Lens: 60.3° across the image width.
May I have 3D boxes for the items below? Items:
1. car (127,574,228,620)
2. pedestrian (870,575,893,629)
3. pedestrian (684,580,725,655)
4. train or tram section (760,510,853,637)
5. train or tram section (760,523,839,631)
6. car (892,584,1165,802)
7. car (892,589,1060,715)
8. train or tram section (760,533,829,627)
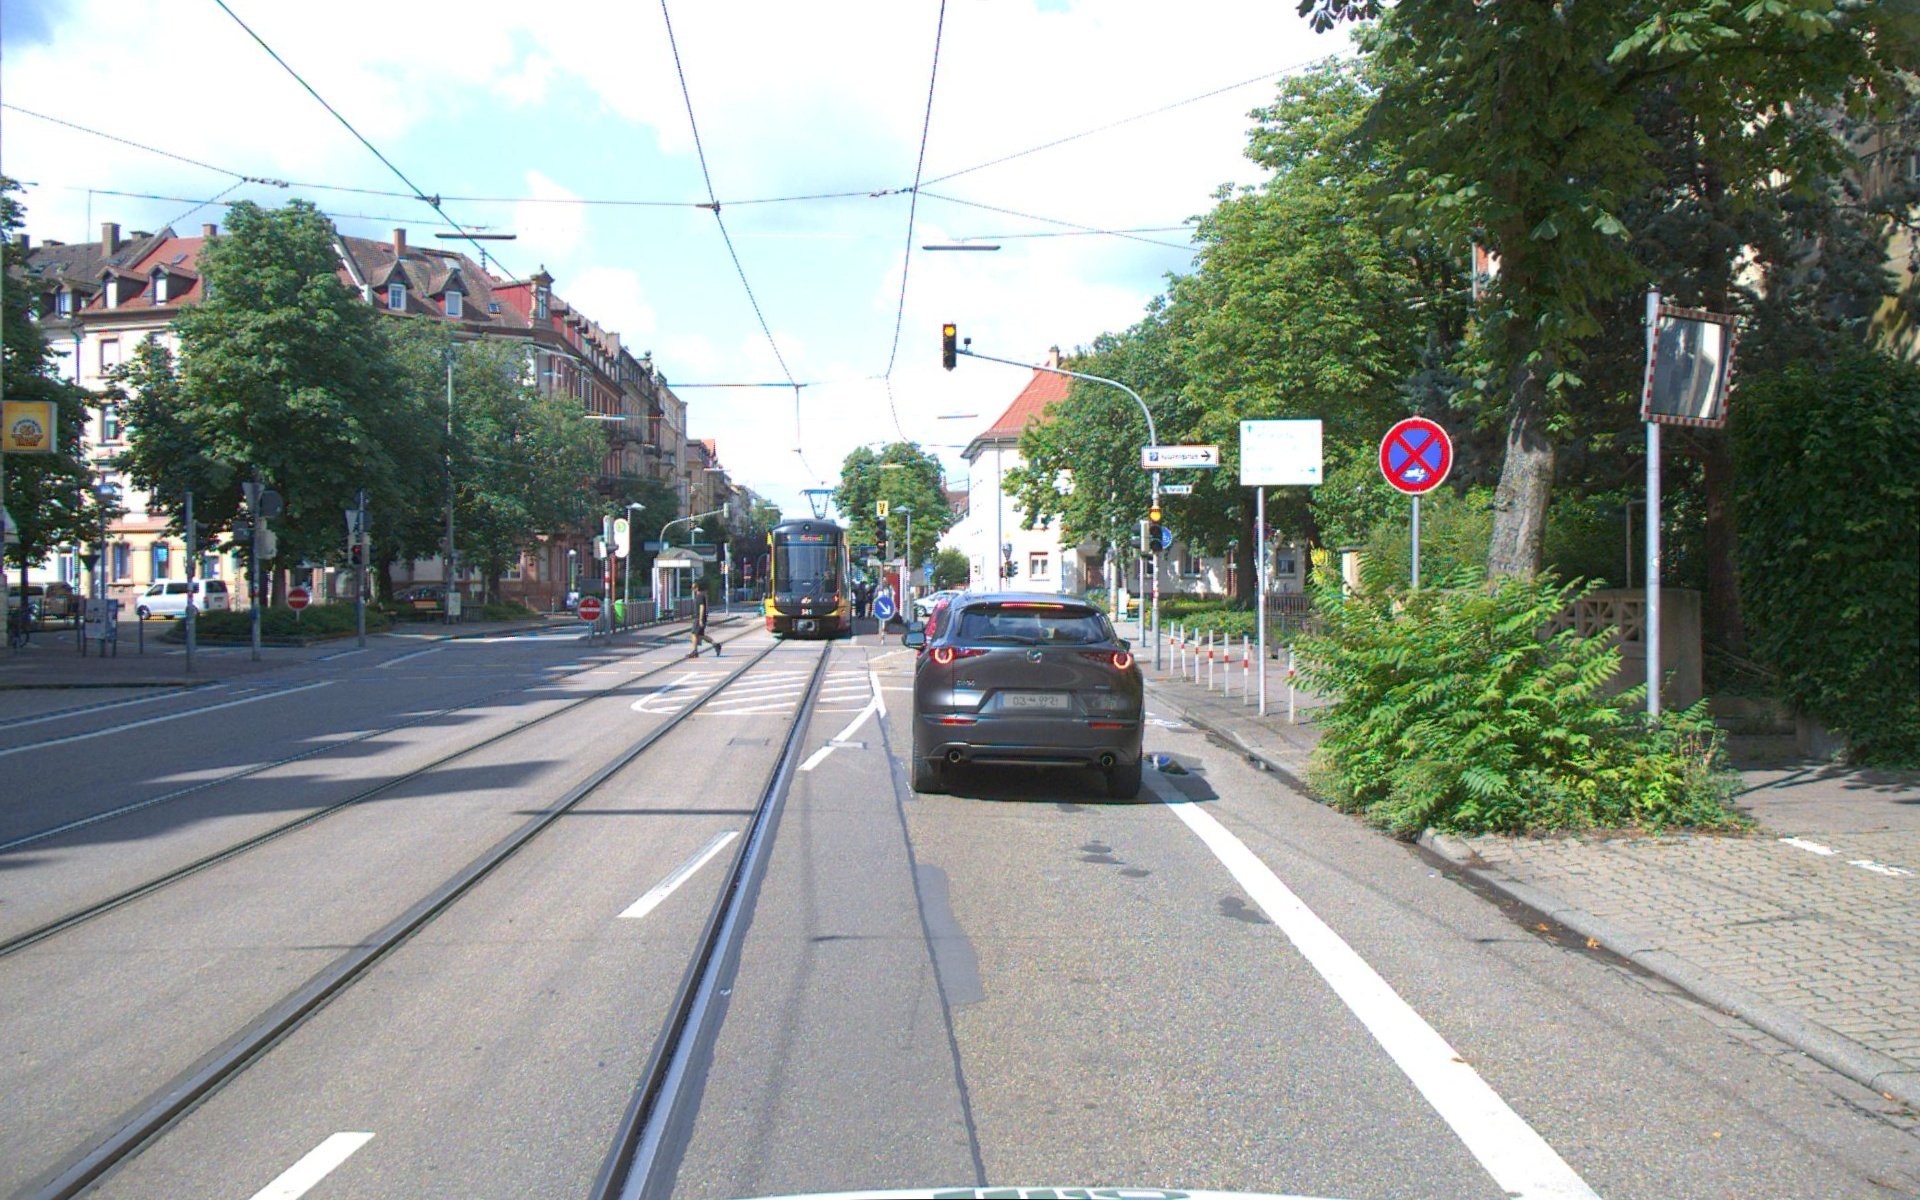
[{"bbox_3d":[-39.289,-0.170,83.104,4.033,2.048,2.001,-4,0,6],"label":"car"},{"bbox_3d":[-2.361,0.060,49.931,0.655,1.633,0.699,0,0,-6],"label":"pedestrian"},{"bbox_3d":[-5.633,0.372,36.548,0.858,1.633,0.631,0,0,-6],"label":"pedestrian"},{"bbox_3d":[-4.910,-0.773,51.677,2.601,3.589,8.483,-1,0,-7],"label":"train or tram section"},{"bbox_3d":[-5.932,-0.794,60.112,2.601,3.589,8.483,-1,0,-7],"label":"train or tram section"},{"bbox_3d":[0.411,0.650,14.016,1.754,1.538,4.346,1,1,-5],"label":"car"},{"bbox_3d":[0.101,0.628,23.017,1.751,1.518,4.876,-1,1,-6],"label":"car"},{"bbox_3d":[-6.949,-0.798,68.567,2.601,3.589,8.483,-1,0,-7],"label":"train or tram section"}]
